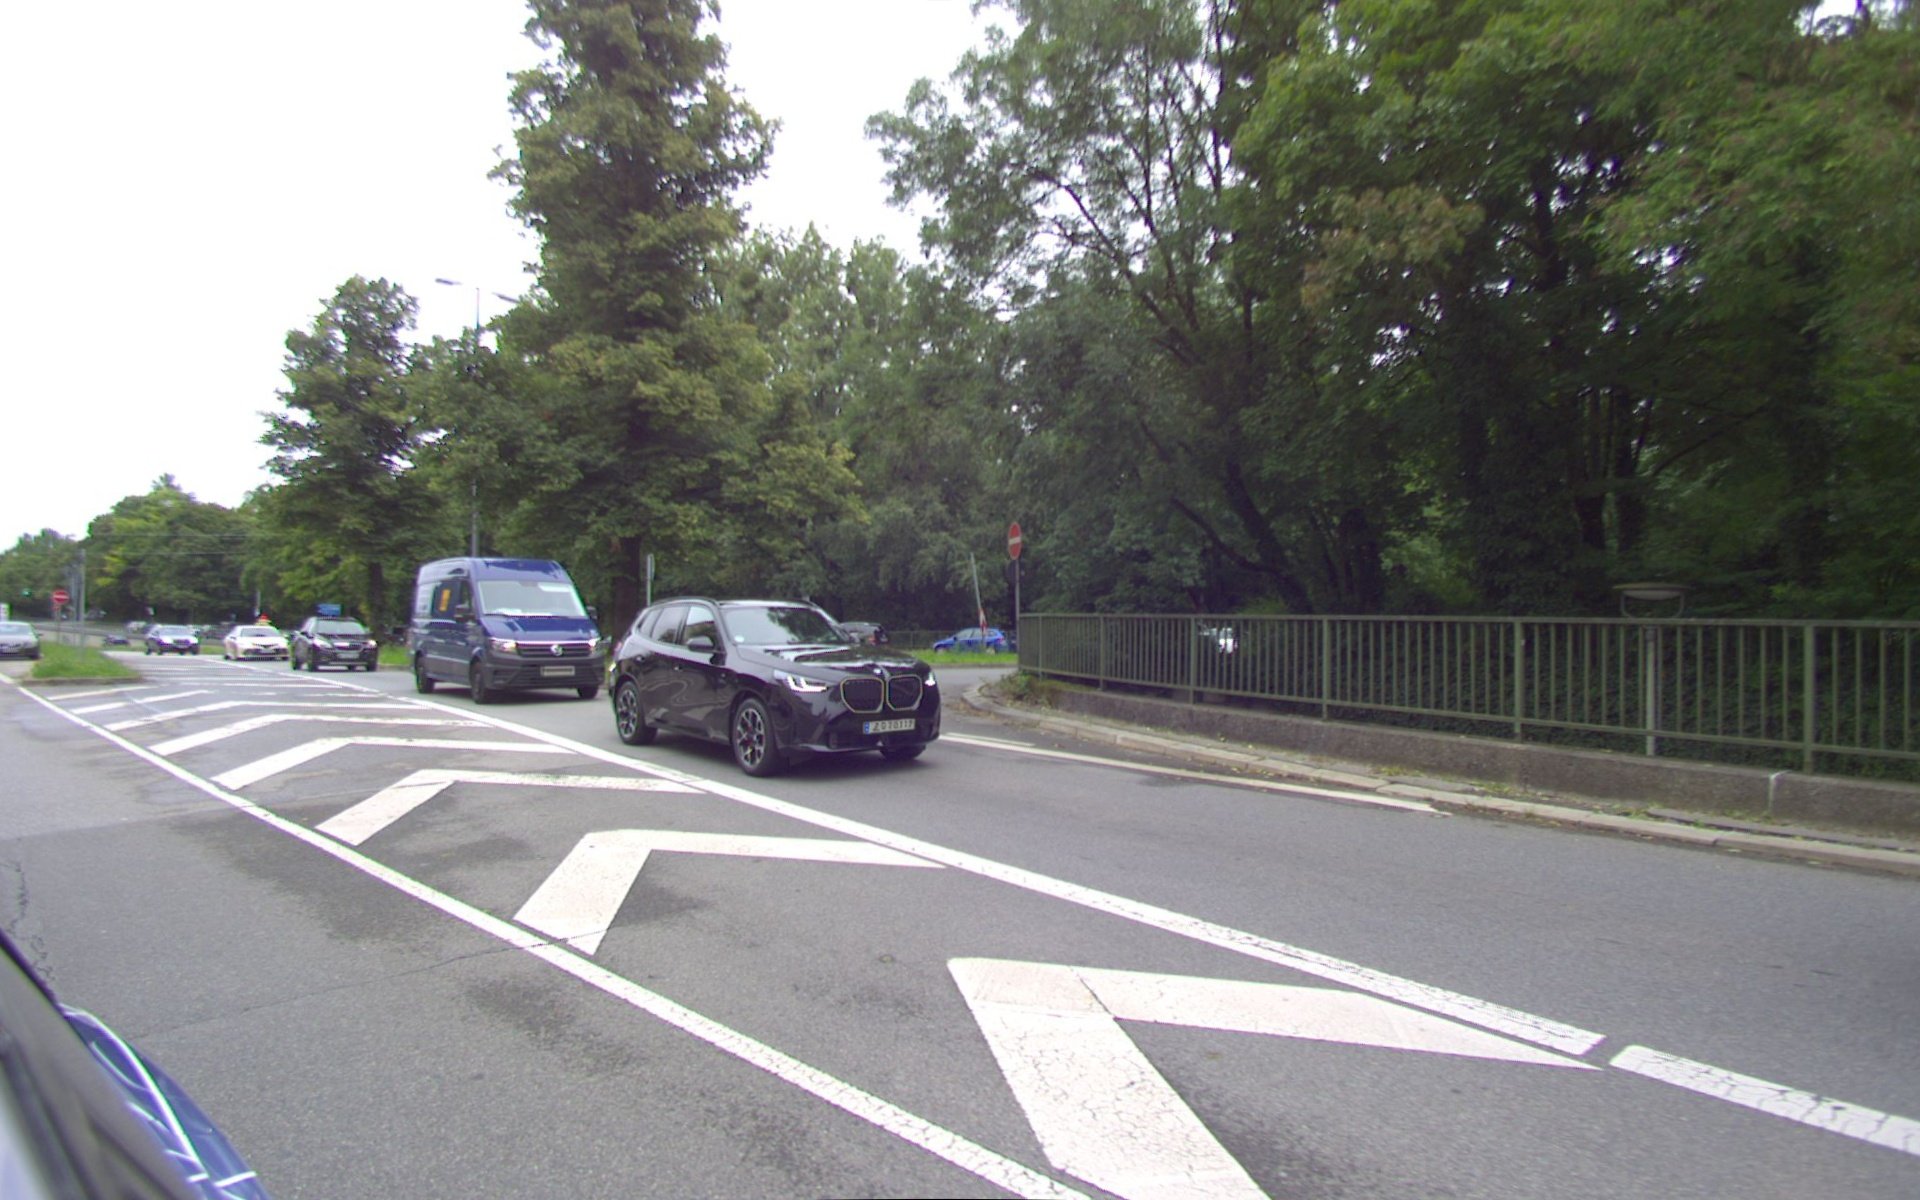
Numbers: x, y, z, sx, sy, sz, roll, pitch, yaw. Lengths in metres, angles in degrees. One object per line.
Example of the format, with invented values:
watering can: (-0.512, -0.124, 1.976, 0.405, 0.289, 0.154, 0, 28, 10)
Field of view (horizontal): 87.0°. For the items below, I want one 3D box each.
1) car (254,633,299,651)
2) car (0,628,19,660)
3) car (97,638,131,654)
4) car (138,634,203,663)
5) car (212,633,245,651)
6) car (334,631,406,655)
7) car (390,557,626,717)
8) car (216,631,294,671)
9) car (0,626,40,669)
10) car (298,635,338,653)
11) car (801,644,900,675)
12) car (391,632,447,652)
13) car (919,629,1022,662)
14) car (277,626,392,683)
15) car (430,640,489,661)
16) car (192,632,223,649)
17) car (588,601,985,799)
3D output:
car: (-58.220, 3.579, 86.202, 4.025, 1.457, 1.874, -2, -3, 36)
car: (-48.847, 2.183, 50.904, 4.284, 1.577, 1.964, -2, -3, 44)
car: (-82.367, 4.478, 98.499, 4.030, 1.457, 1.872, -2, -3, 40)
car: (-44.491, 2.718, 57.017, 4.269, 1.577, 1.967, -1, -3, 39)
car: (-76.189, 4.361, 105.417, 3.997, 1.759, 1.861, -1, -2, 41)
car: (-35.669, 2.595, 61.121, 4.372, 1.457, 1.878, -1, -3, 31)
car: (-8.492, 0.624, 18.655, 2.158, 2.482, 5.857, 2, -2, -43)
car: (-29.401, 2.068, 42.144, 1.964, 1.577, 4.658, 2, -3, -44)
car: (-37.556, 1.840, 39.792, 1.876, 1.577, 4.774, 2, -3, -44)
car: (-58.029, 3.944, 91.432, 3.997, 1.569, 1.887, 0, -2, 40)
car: (-5.510, 2.975, 50.782, 4.751, 1.457, 1.979, -1, -3, 31)
car: (-40.960, 3.196, 76.568, 4.518, 1.457, 1.975, -2, -4, 37)
car: (0.482, 2.102, 47.068, 4.406, 1.457, 1.979, -1, -3, 30)
car: (-19.361, 1.629, 31.255, 4.274, 1.640, 1.965, -2, -3, 44)
car: (-36.081, 3.603, 72.875, 4.518, 1.457, 1.975, -2, -4, 37)
car: (-81.590, 4.395, 109.779, 3.997, 1.759, 1.842, -1, -2, 41)
car: (-2.067, 0.867, 10.649, 1.889, 1.598, 4.837, 0, -2, -41)
